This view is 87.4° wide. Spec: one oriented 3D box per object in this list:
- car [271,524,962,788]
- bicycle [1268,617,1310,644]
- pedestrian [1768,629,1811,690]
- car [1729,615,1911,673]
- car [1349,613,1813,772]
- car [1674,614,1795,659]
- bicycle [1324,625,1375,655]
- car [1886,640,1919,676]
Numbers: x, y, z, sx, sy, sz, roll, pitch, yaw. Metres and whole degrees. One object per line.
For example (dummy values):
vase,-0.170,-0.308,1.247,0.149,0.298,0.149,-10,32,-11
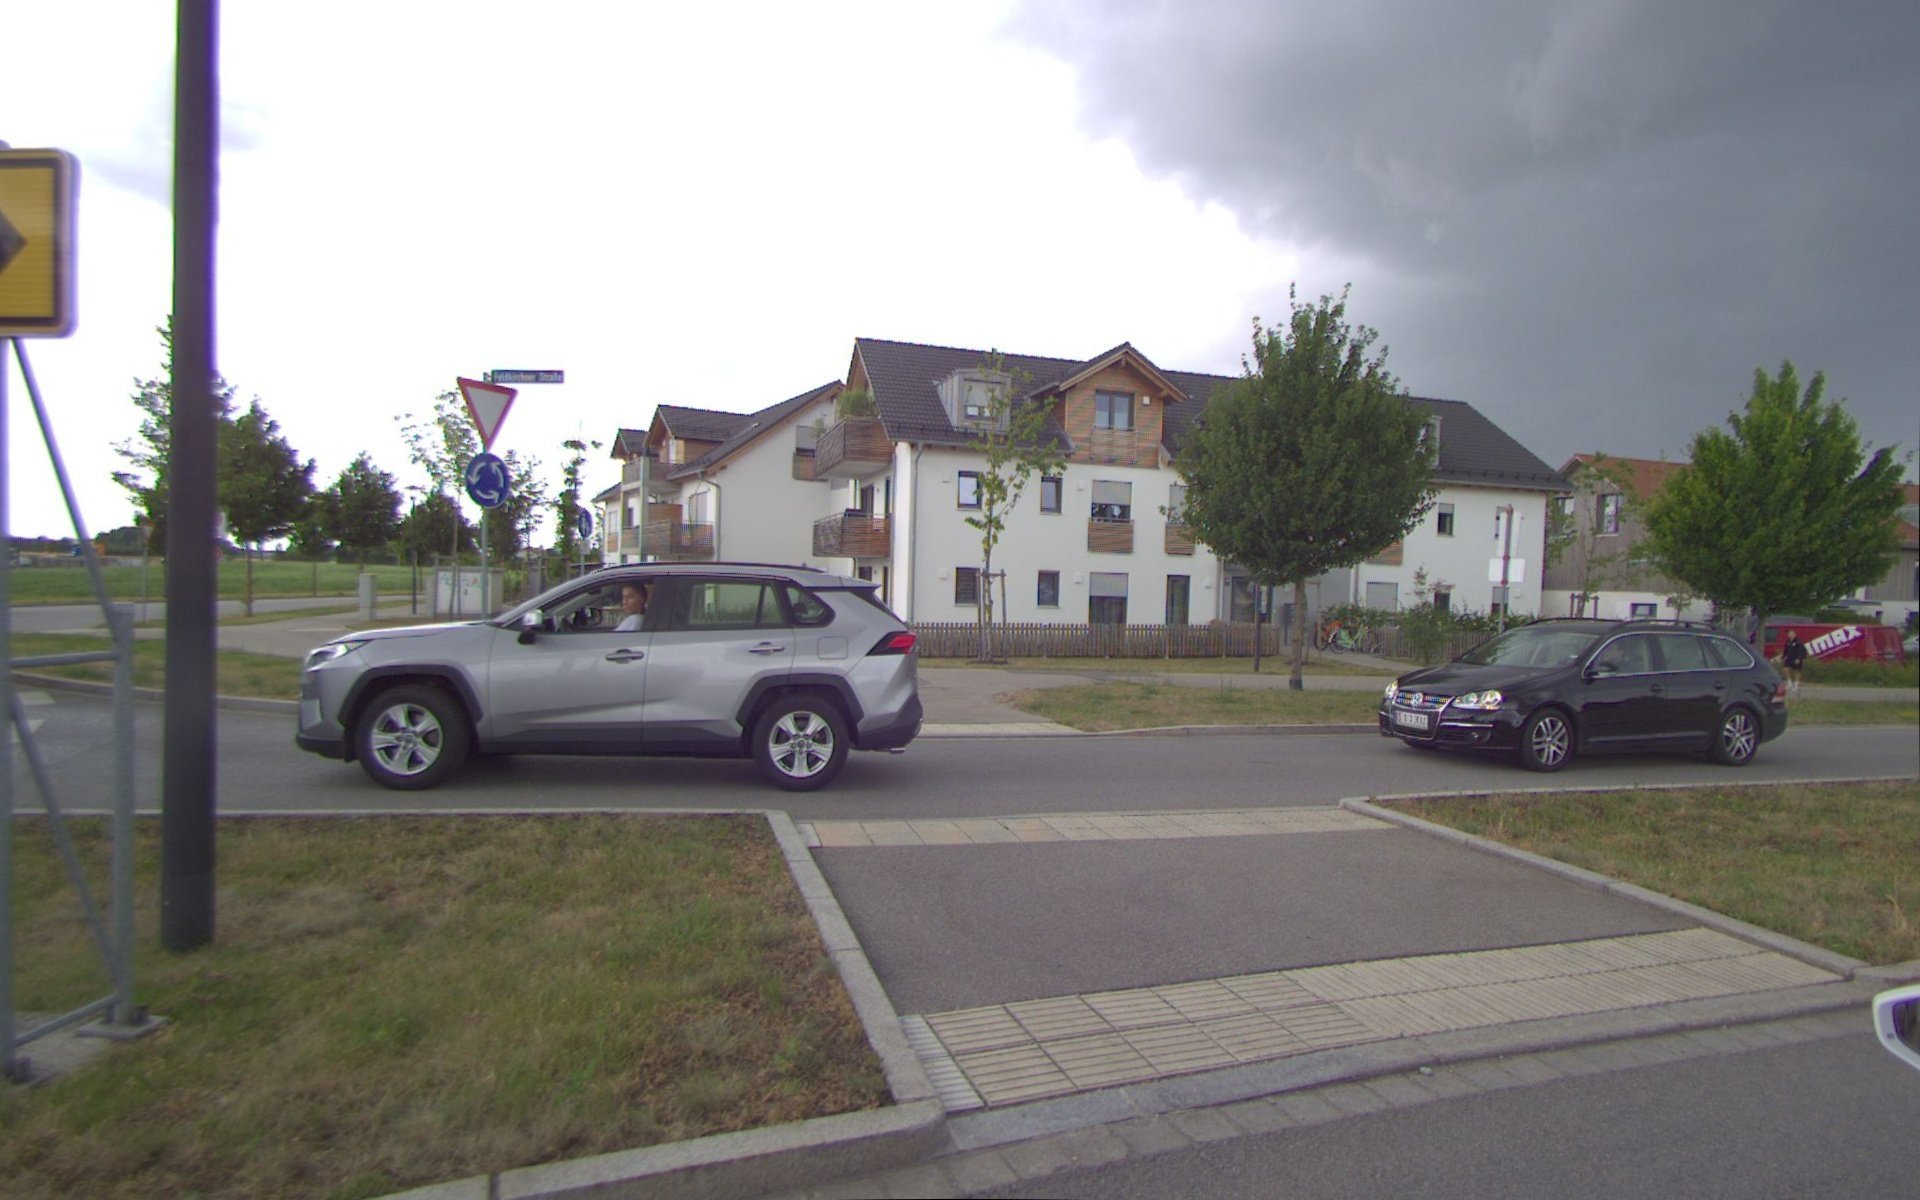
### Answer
car,-2.417,0.469,7.997,4.552,1.726,1.997,2,-2,-10
bicycle,11.101,1.032,33.913,1.316,0.854,0.367,2,4,-17
pedestrian,22.198,1.589,26.888,0.650,1.580,0.580,1,2,-20
car,30.355,1.504,35.651,1.967,1.702,4.530,2,1,-15
car,6.576,0.932,10.708,4.384,1.435,1.753,2,0,-17
car,34.925,1.643,45.339,4.390,1.795,1.994,2,1,-14
bicycle,12.071,1.252,31.160,1.522,0.854,0.367,2,4,-17
car,38.390,2.326,38.446,1.815,1.333,3.908,1,1,-20
